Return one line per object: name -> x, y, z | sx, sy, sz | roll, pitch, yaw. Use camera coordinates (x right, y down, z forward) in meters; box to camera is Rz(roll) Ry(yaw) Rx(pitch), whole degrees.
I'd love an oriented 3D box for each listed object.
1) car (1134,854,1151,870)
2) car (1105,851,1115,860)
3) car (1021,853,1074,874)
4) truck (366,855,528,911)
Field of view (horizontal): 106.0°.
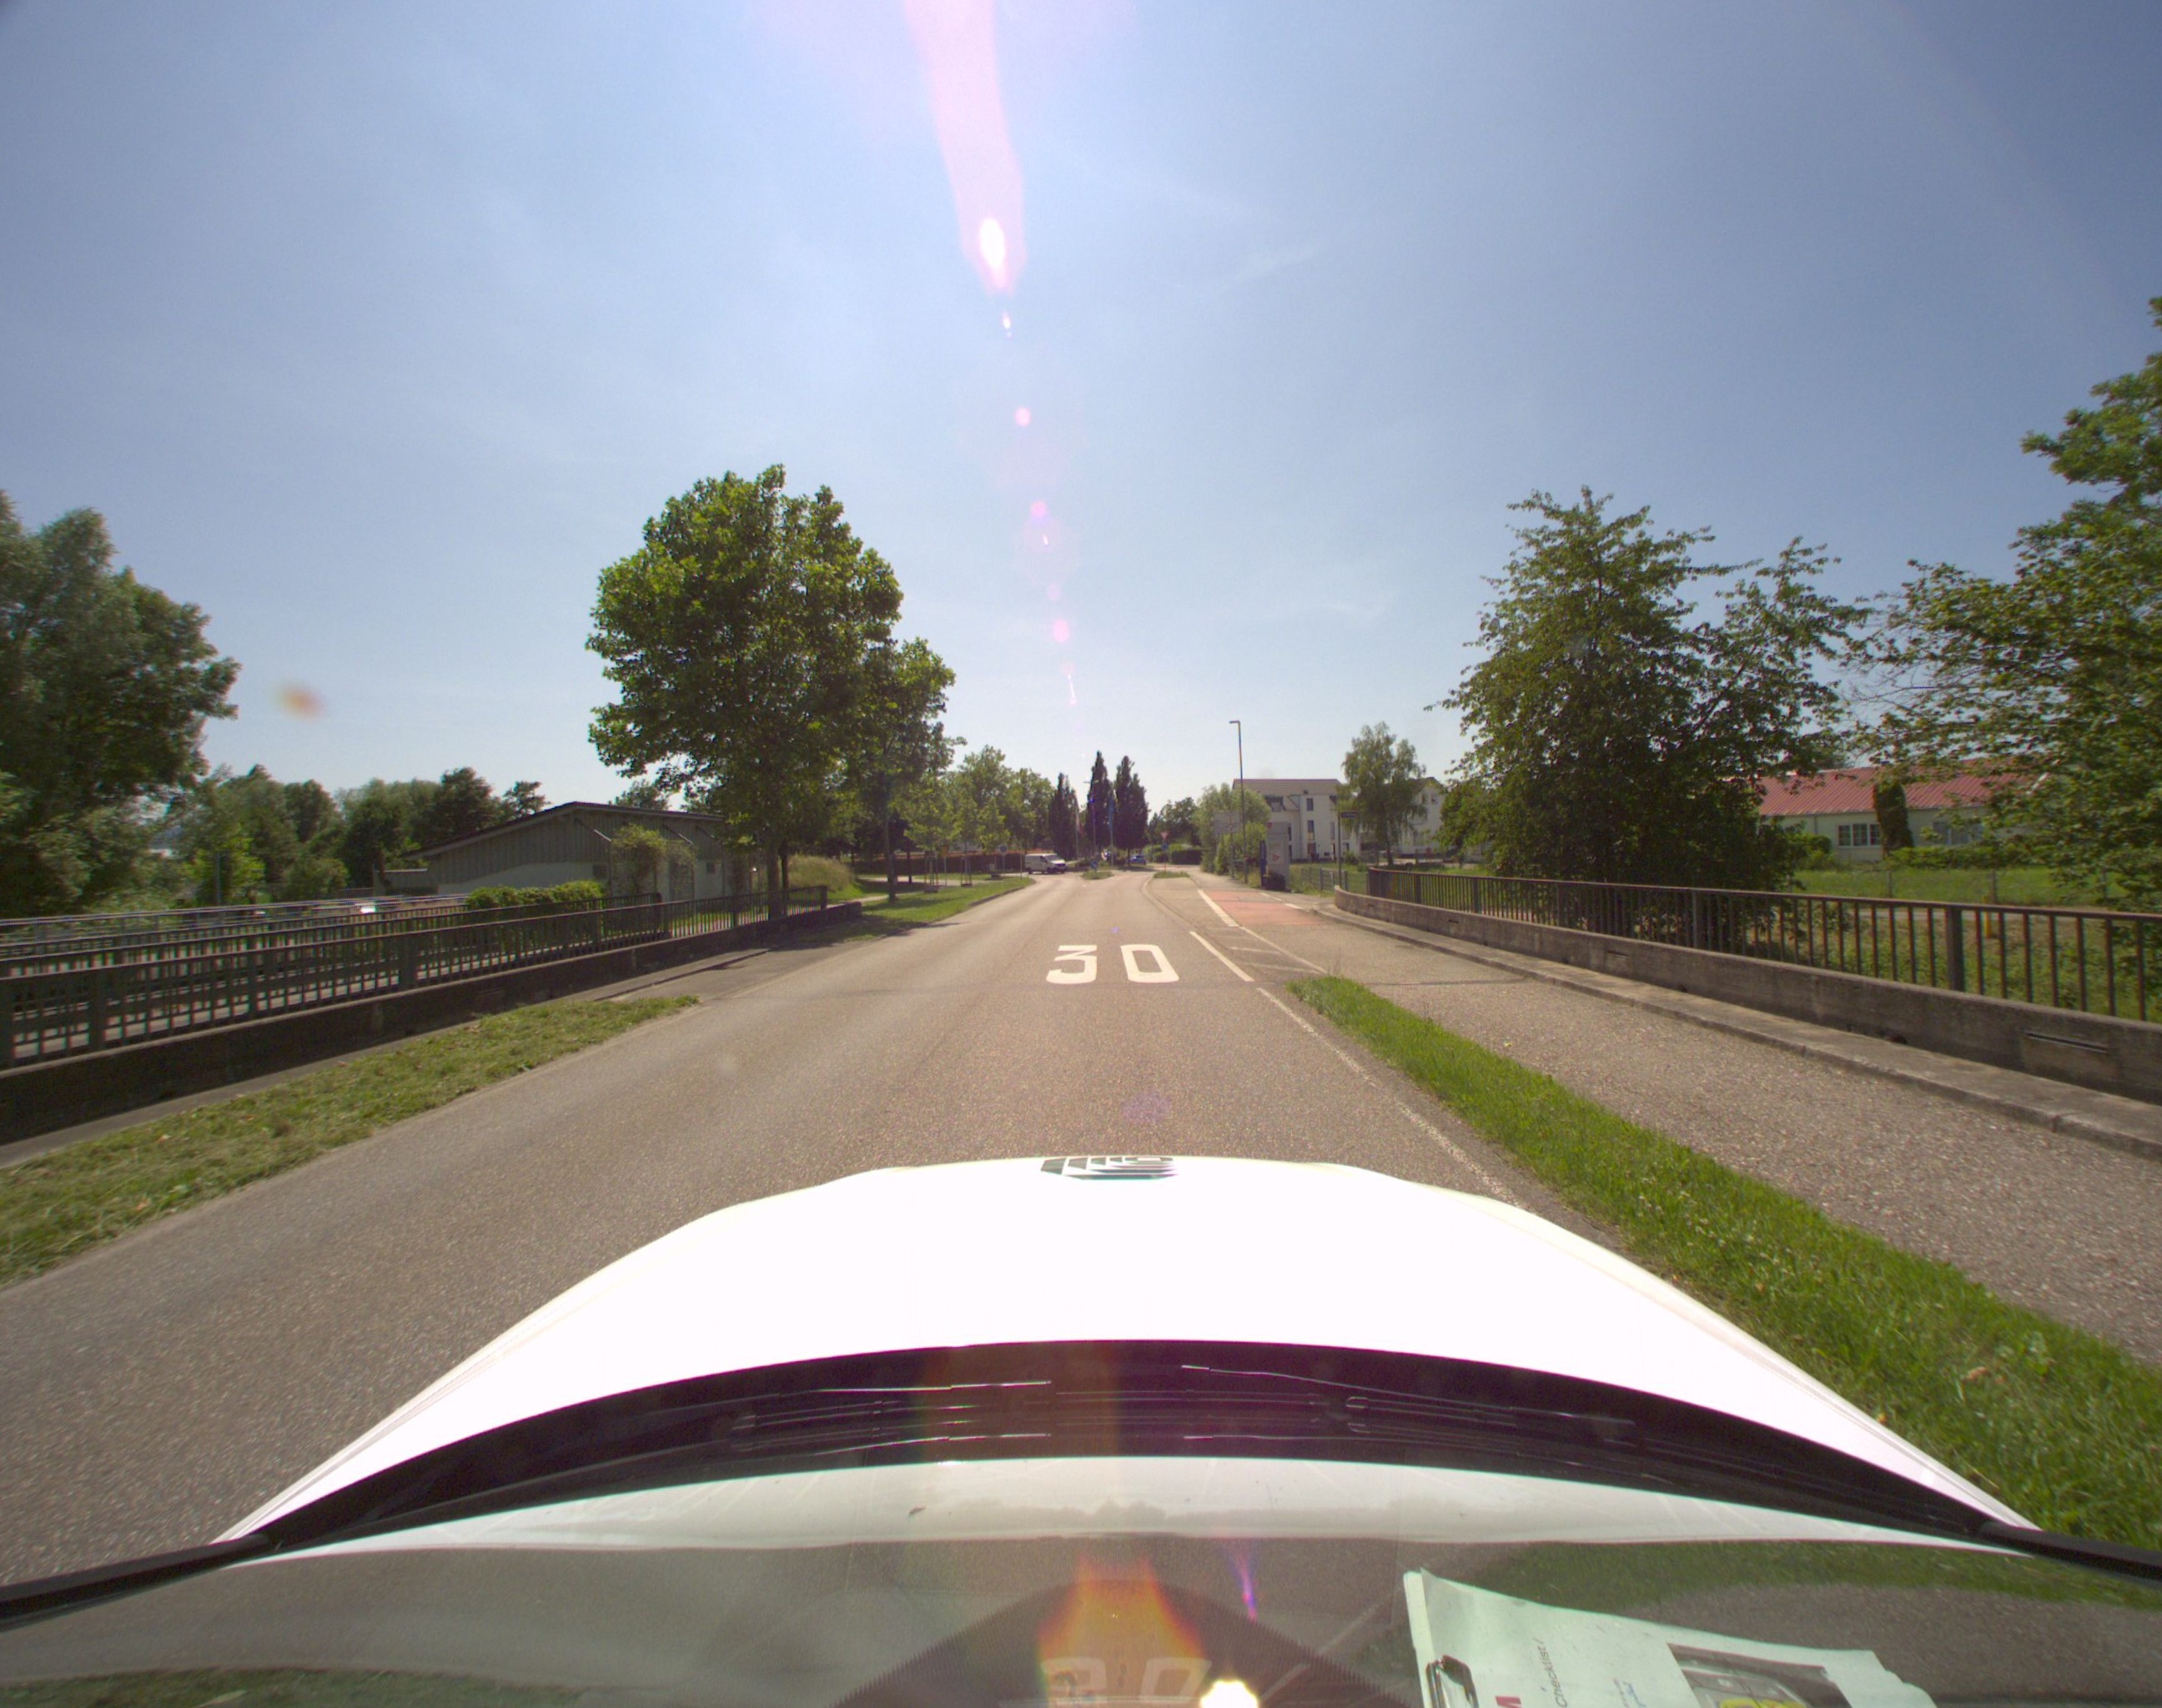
car -> 7.656, 1.020, 102.360 | 1.916, 1.886, 4.001 | -1, -1, 1
car -> 5.604, 0.300, 157.305 | 1.986, 1.770, 4.001 | -1, -1, 1
car -> -3.338, 0.910, 80.034 | 5.082, 2.014, 2.148 | -1, -1, 39
truck -> -27.771, 1.202, 36.020 | 2.976, 2.216, 5.173 | -1, 0, 1
